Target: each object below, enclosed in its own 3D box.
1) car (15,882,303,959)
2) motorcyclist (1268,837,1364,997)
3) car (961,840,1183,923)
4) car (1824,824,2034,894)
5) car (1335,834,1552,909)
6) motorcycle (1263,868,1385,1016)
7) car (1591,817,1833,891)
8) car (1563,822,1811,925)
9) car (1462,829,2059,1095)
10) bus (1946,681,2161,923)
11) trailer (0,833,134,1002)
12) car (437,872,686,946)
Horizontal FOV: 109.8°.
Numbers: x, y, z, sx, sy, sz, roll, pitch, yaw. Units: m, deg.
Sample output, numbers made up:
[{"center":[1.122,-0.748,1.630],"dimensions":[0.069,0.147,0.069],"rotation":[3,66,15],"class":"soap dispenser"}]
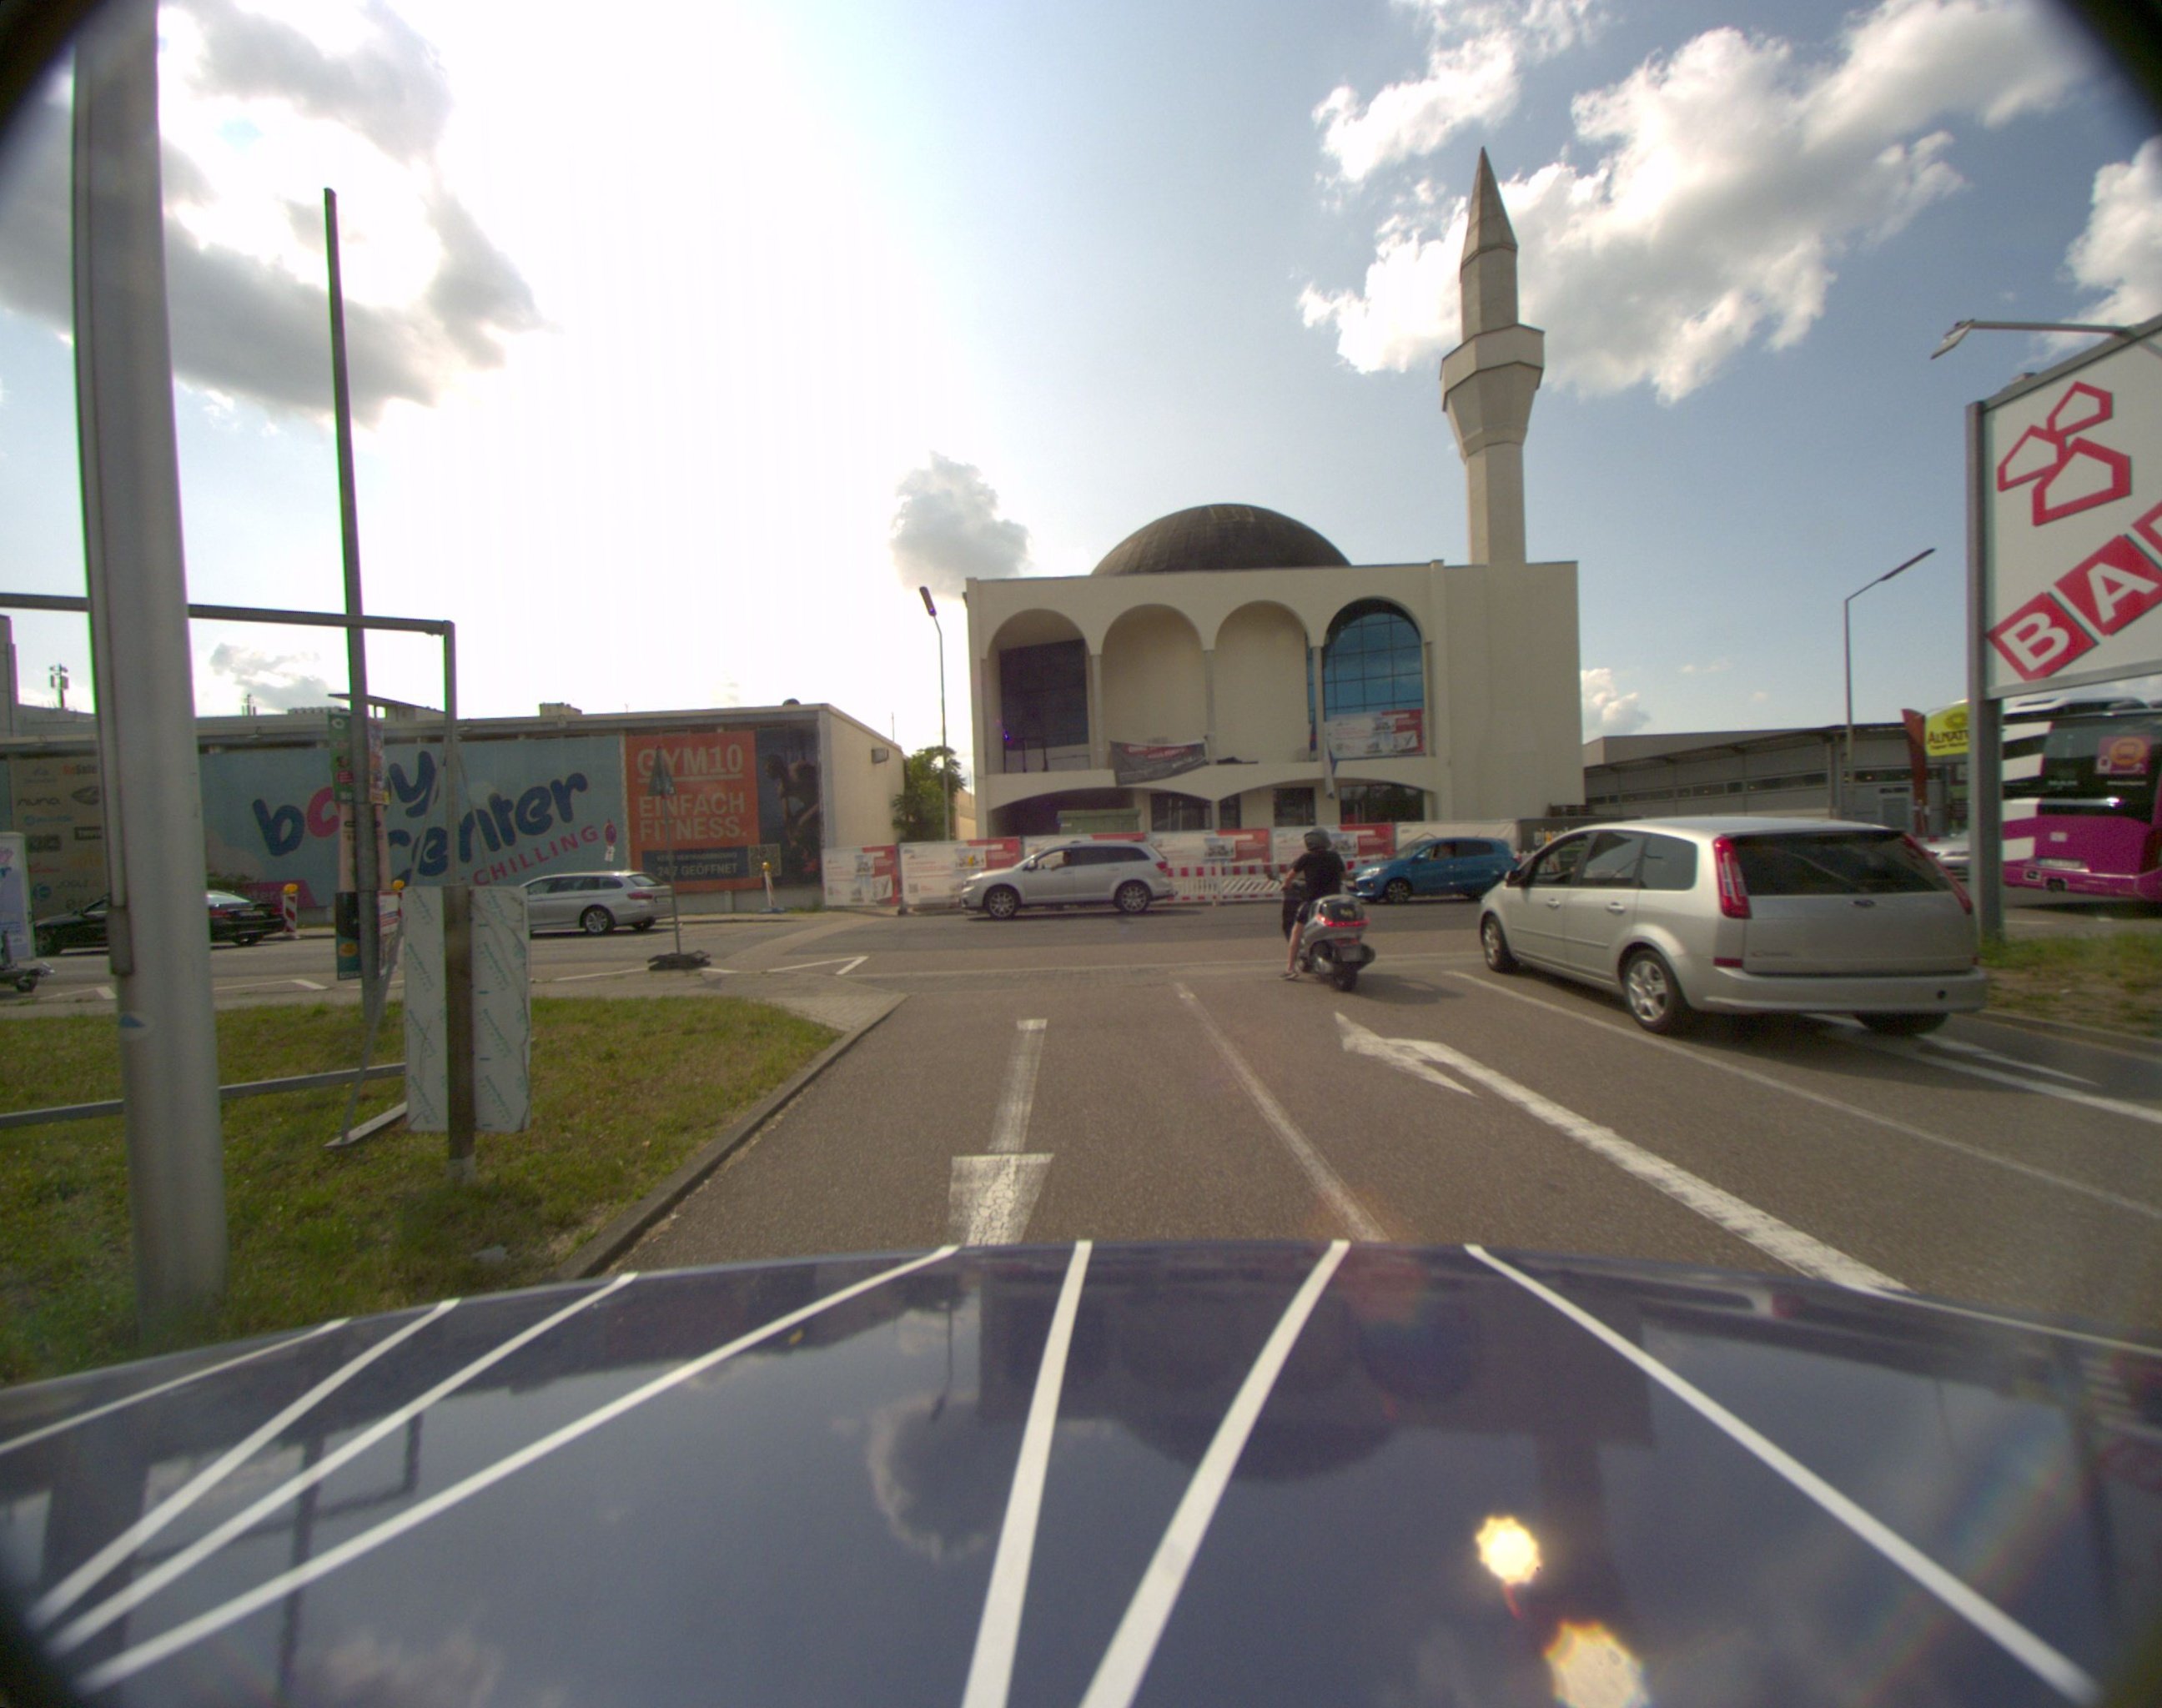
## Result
[{"center":[-21.829,1.534,18.130],"dimensions":[4.552,1.491,1.853],"rotation":[-2,1,1],"class":"car"},{"center":[2.502,0.648,8.155],"dimensions":[0.788,1.619,0.686],"rotation":[-2,1,3],"class":"motorcyclist"},{"center":[-0.222,0.605,17.629],"dimensions":[4.837,1.689,1.868],"rotation":[-2,0,-3],"class":"car"},{"center":[19.747,0.082,17.810],"dimensions":[2.947,1.409,1.691],"rotation":[-2,5,0],"class":"car"},{"center":[8.282,0.377,17.615],"dimensions":[4.193,1.505,1.697],"rotation":[-2,1,0],"class":"car"},{"center":[2.536,0.842,8.198],"dimensions":[0.671,1.298,2.213],"rotation":[-2,1,3],"class":"motorcycle"},{"center":[14.751,-0.003,17.936],"dimensions":[4.190,1.501,1.791],"rotation":[-2,1,1],"class":"car"},{"center":[11.205,0.311,14.020],"dimensions":[4.391,1.656,1.766],"rotation":[-1,-1,-25],"class":"car"},{"center":[5.079,0.632,6.631],"dimensions":[1.721,1.555,4.210],"rotation":[-2,1,6],"class":"car"},{"center":[20.682,-0.947,11.587],"dimensions":[11.560,3.345,2.893],"rotation":[-2,1,1],"class":"bus"},{"center":[-17.895,0.967,11.629],"dimensions":[4.274,2.406,1.767],"rotation":[-2,4,-1],"class":"trailer"},{"center":[-12.098,1.251,17.903],"dimensions":[4.614,1.471,1.771],"rotation":[-2,0,1],"class":"car"}]
